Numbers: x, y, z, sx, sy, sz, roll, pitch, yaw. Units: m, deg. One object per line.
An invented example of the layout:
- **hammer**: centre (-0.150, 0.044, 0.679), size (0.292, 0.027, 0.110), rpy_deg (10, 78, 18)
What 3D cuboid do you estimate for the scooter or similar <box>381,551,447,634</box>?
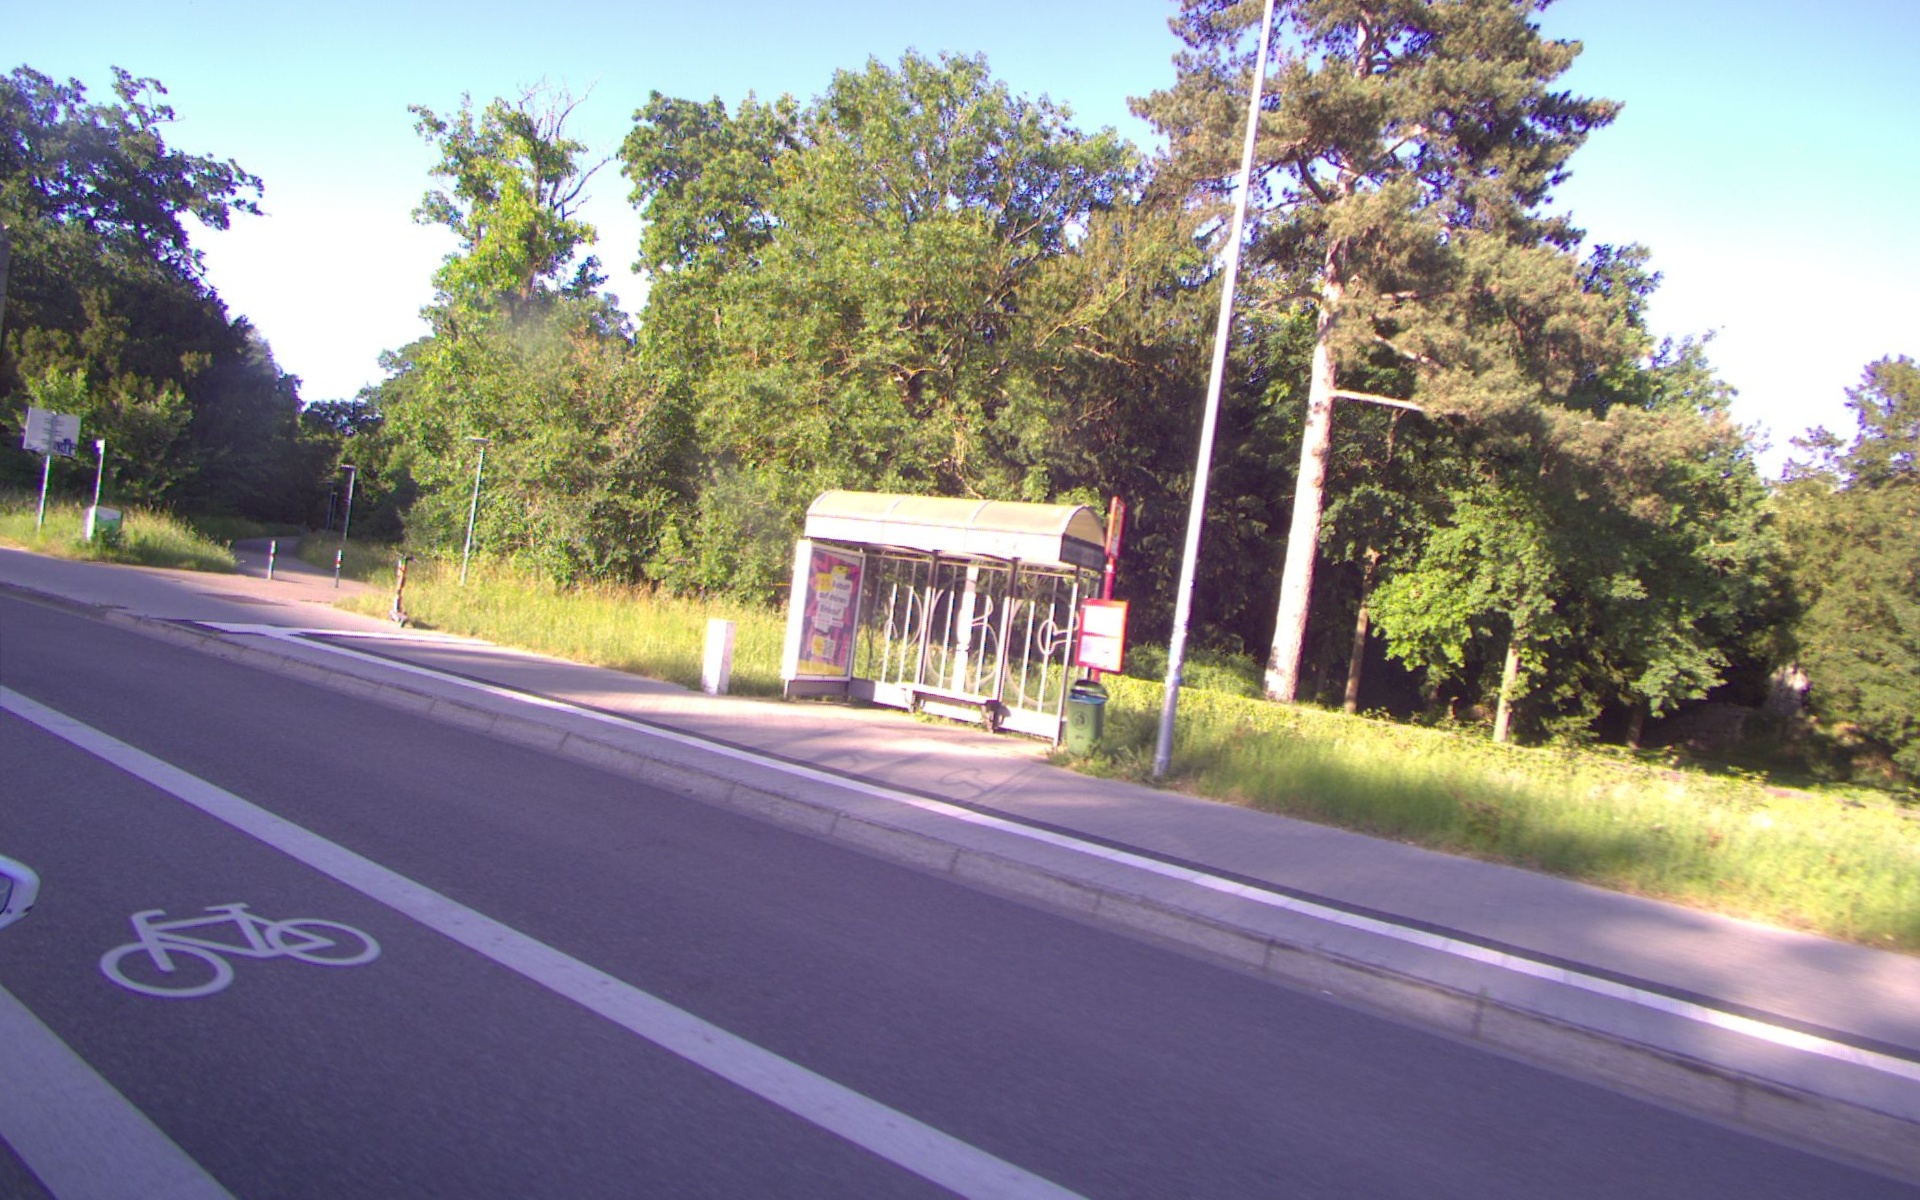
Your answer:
- **scooter or similar**: centre (-9.421, -0.136, 17.331), size (0.718, 1.262, 1.315), rpy_deg (8, 0, -36)
